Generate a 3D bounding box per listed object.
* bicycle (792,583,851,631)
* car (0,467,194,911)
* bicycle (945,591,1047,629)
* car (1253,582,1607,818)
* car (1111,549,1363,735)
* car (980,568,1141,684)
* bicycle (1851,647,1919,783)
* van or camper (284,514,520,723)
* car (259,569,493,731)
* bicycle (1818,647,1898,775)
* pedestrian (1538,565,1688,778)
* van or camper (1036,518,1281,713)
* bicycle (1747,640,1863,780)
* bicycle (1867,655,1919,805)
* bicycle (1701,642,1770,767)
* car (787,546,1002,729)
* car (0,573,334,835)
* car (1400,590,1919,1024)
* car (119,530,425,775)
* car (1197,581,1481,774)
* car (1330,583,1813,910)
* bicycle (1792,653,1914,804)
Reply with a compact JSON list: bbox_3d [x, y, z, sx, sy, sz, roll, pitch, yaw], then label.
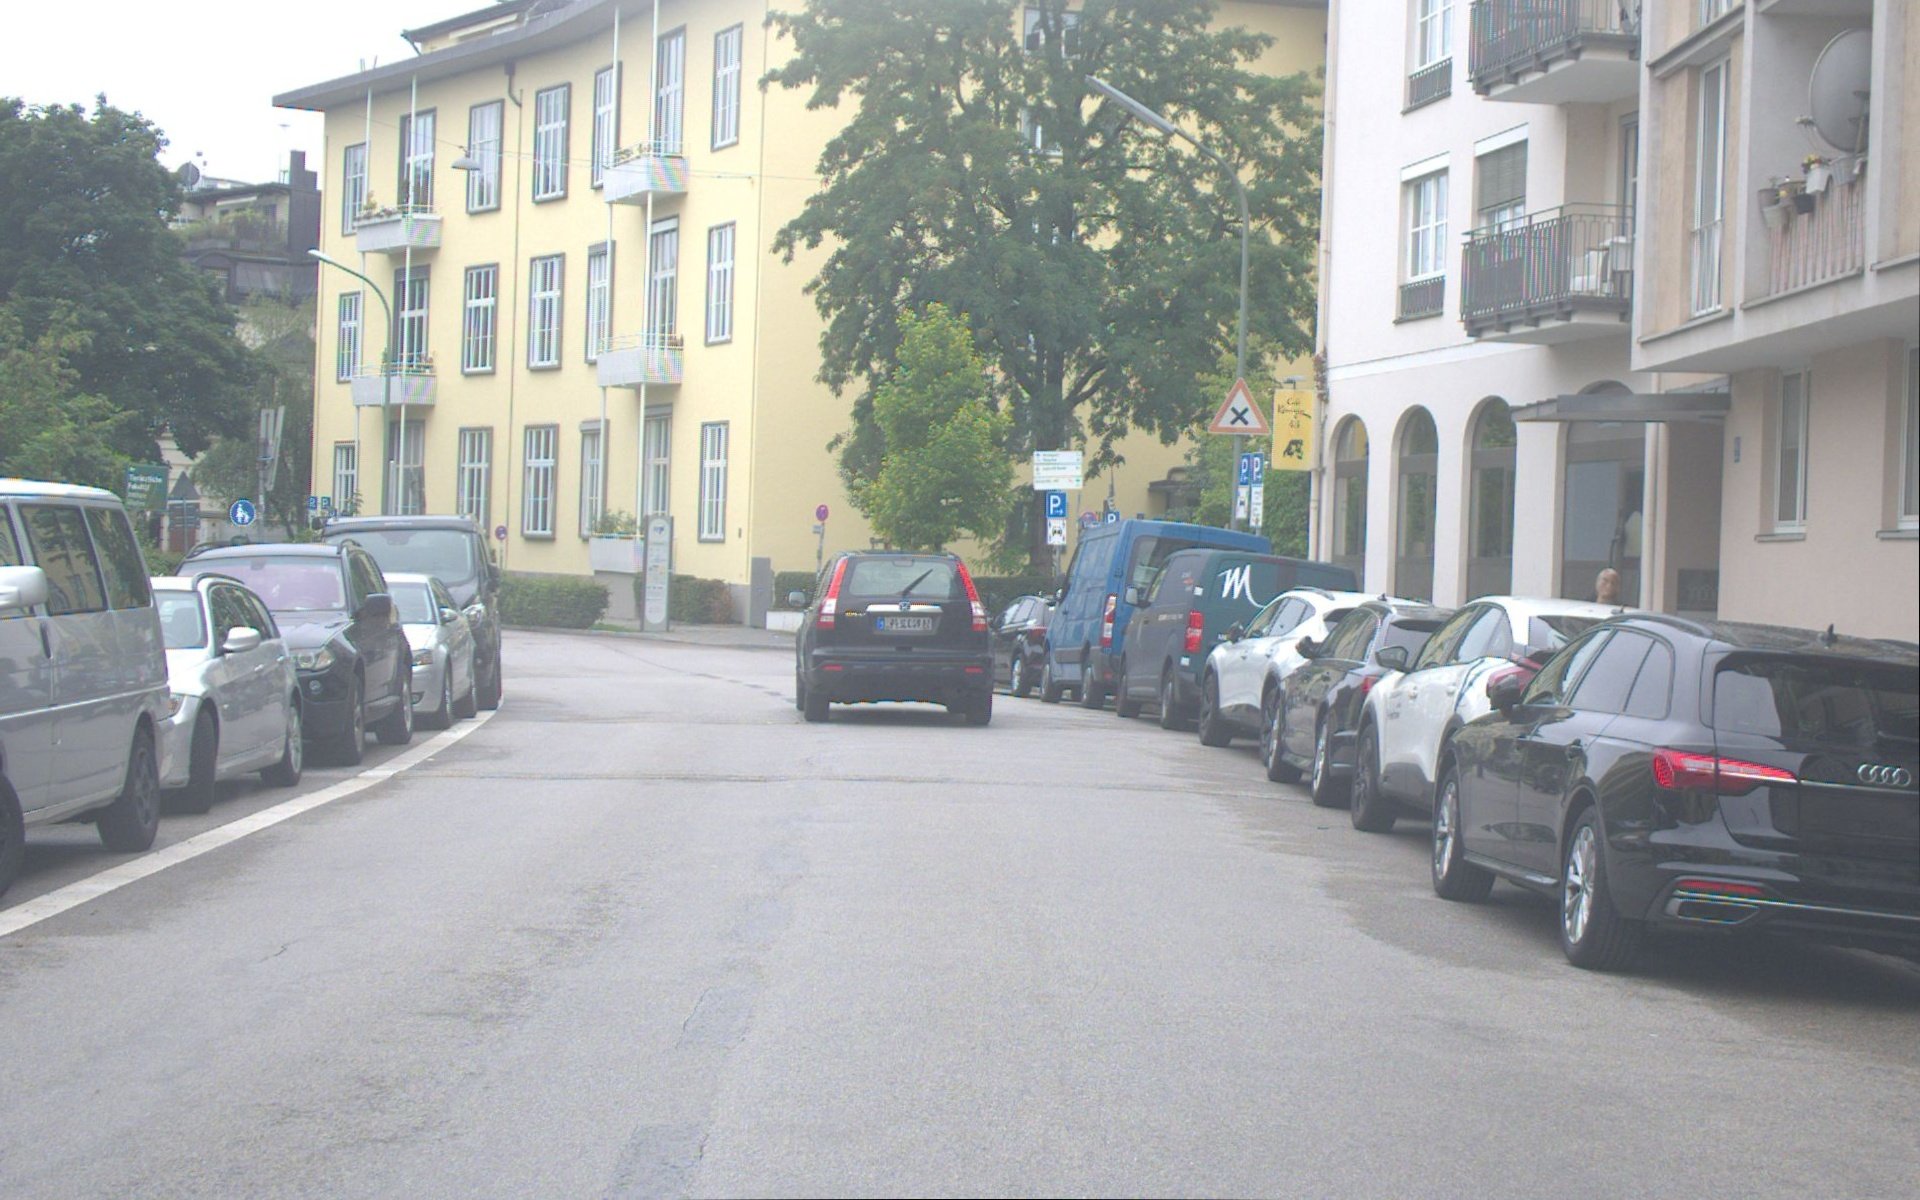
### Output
[{"bbox_3d":[-3.296,0.155,81.644,0.608,1.069,2.218,1,1,-25],"label":"bicycle"},{"bbox_3d":[-5.055,0.379,15.755,1.993,1.869,4.758,-1,1,0],"label":"car"},{"bbox_3d":[0.820,0.221,78.367,2.211,0.776,0.610,2,0,12],"label":"bicycle"},{"bbox_3d":[3.284,0.647,24.851,1.739,1.494,4.496,0,1,-3],"label":"car"},{"bbox_3d":[2.827,0.374,36.217,1.964,1.810,4.936,0,1,-3],"label":"car"},{"bbox_3d":[1.358,0.328,47.867,1.703,1.513,3.959,0,1,-6],"label":"car"},{"bbox_3d":[7.496,0.903,27.398,0.390,1.020,1.401,0,1,-1],"label":"bicycle"},{"bbox_3d":[-5.863,0.151,36.630,1.960,2.058,4.754,-1,1,-3],"label":"van or camper"},{"bbox_3d":[-5.371,0.415,32.021,1.619,1.373,4.072,-1,1,-2],"label":"car"},{"bbox_3d":[7.469,0.916,28.614,0.373,1.020,1.002,0,1,-2],"label":"bicycle"},{"bbox_3d":[5.329,0.564,28.132,0.898,1.682,1.320,1,1,-2],"label":"pedestrian"},{"bbox_3d":[2.335,0.144,42.042,2.060,2.223,5.439,0,1,-7],"label":"van or camper"},{"bbox_3d":[7.319,0.943,29.822,0.532,1.129,1.409,1,1,-5],"label":"bicycle"},{"bbox_3d":[6.979,0.934,24.951,0.390,1.020,1.401,0,1,-1],"label":"bicycle"},{"bbox_3d":[6.688,0.891,29.675,0.423,1.020,1.198,1,1,6],"label":"bicycle"},{"bbox_3d":[-0.599,0.319,34.237,1.995,1.688,4.380,0,1,0],"label":"car"},{"bbox_3d":[-5.180,0.575,21.484,1.701,1.418,4.425,-1,1,0],"label":"car"},{"bbox_3d":[3.263,0.796,14.903,1.796,1.415,4.483,7,1,-3],"label":"car"},{"bbox_3d":[-5.220,0.338,26.598,1.619,1.724,4.425,-1,1,-2],"label":"car"},{"bbox_3d":[3.271,0.624,30.415,1.739,1.532,4.274,0,1,-4],"label":"car"},{"bbox_3d":[3.380,0.748,19.823,1.739,1.494,4.220,5,1,-3],"label":"car"},{"bbox_3d":[6.470,0.919,24.956,0.483,1.020,1.401,0,1,-1],"label":"bicycle"}]
